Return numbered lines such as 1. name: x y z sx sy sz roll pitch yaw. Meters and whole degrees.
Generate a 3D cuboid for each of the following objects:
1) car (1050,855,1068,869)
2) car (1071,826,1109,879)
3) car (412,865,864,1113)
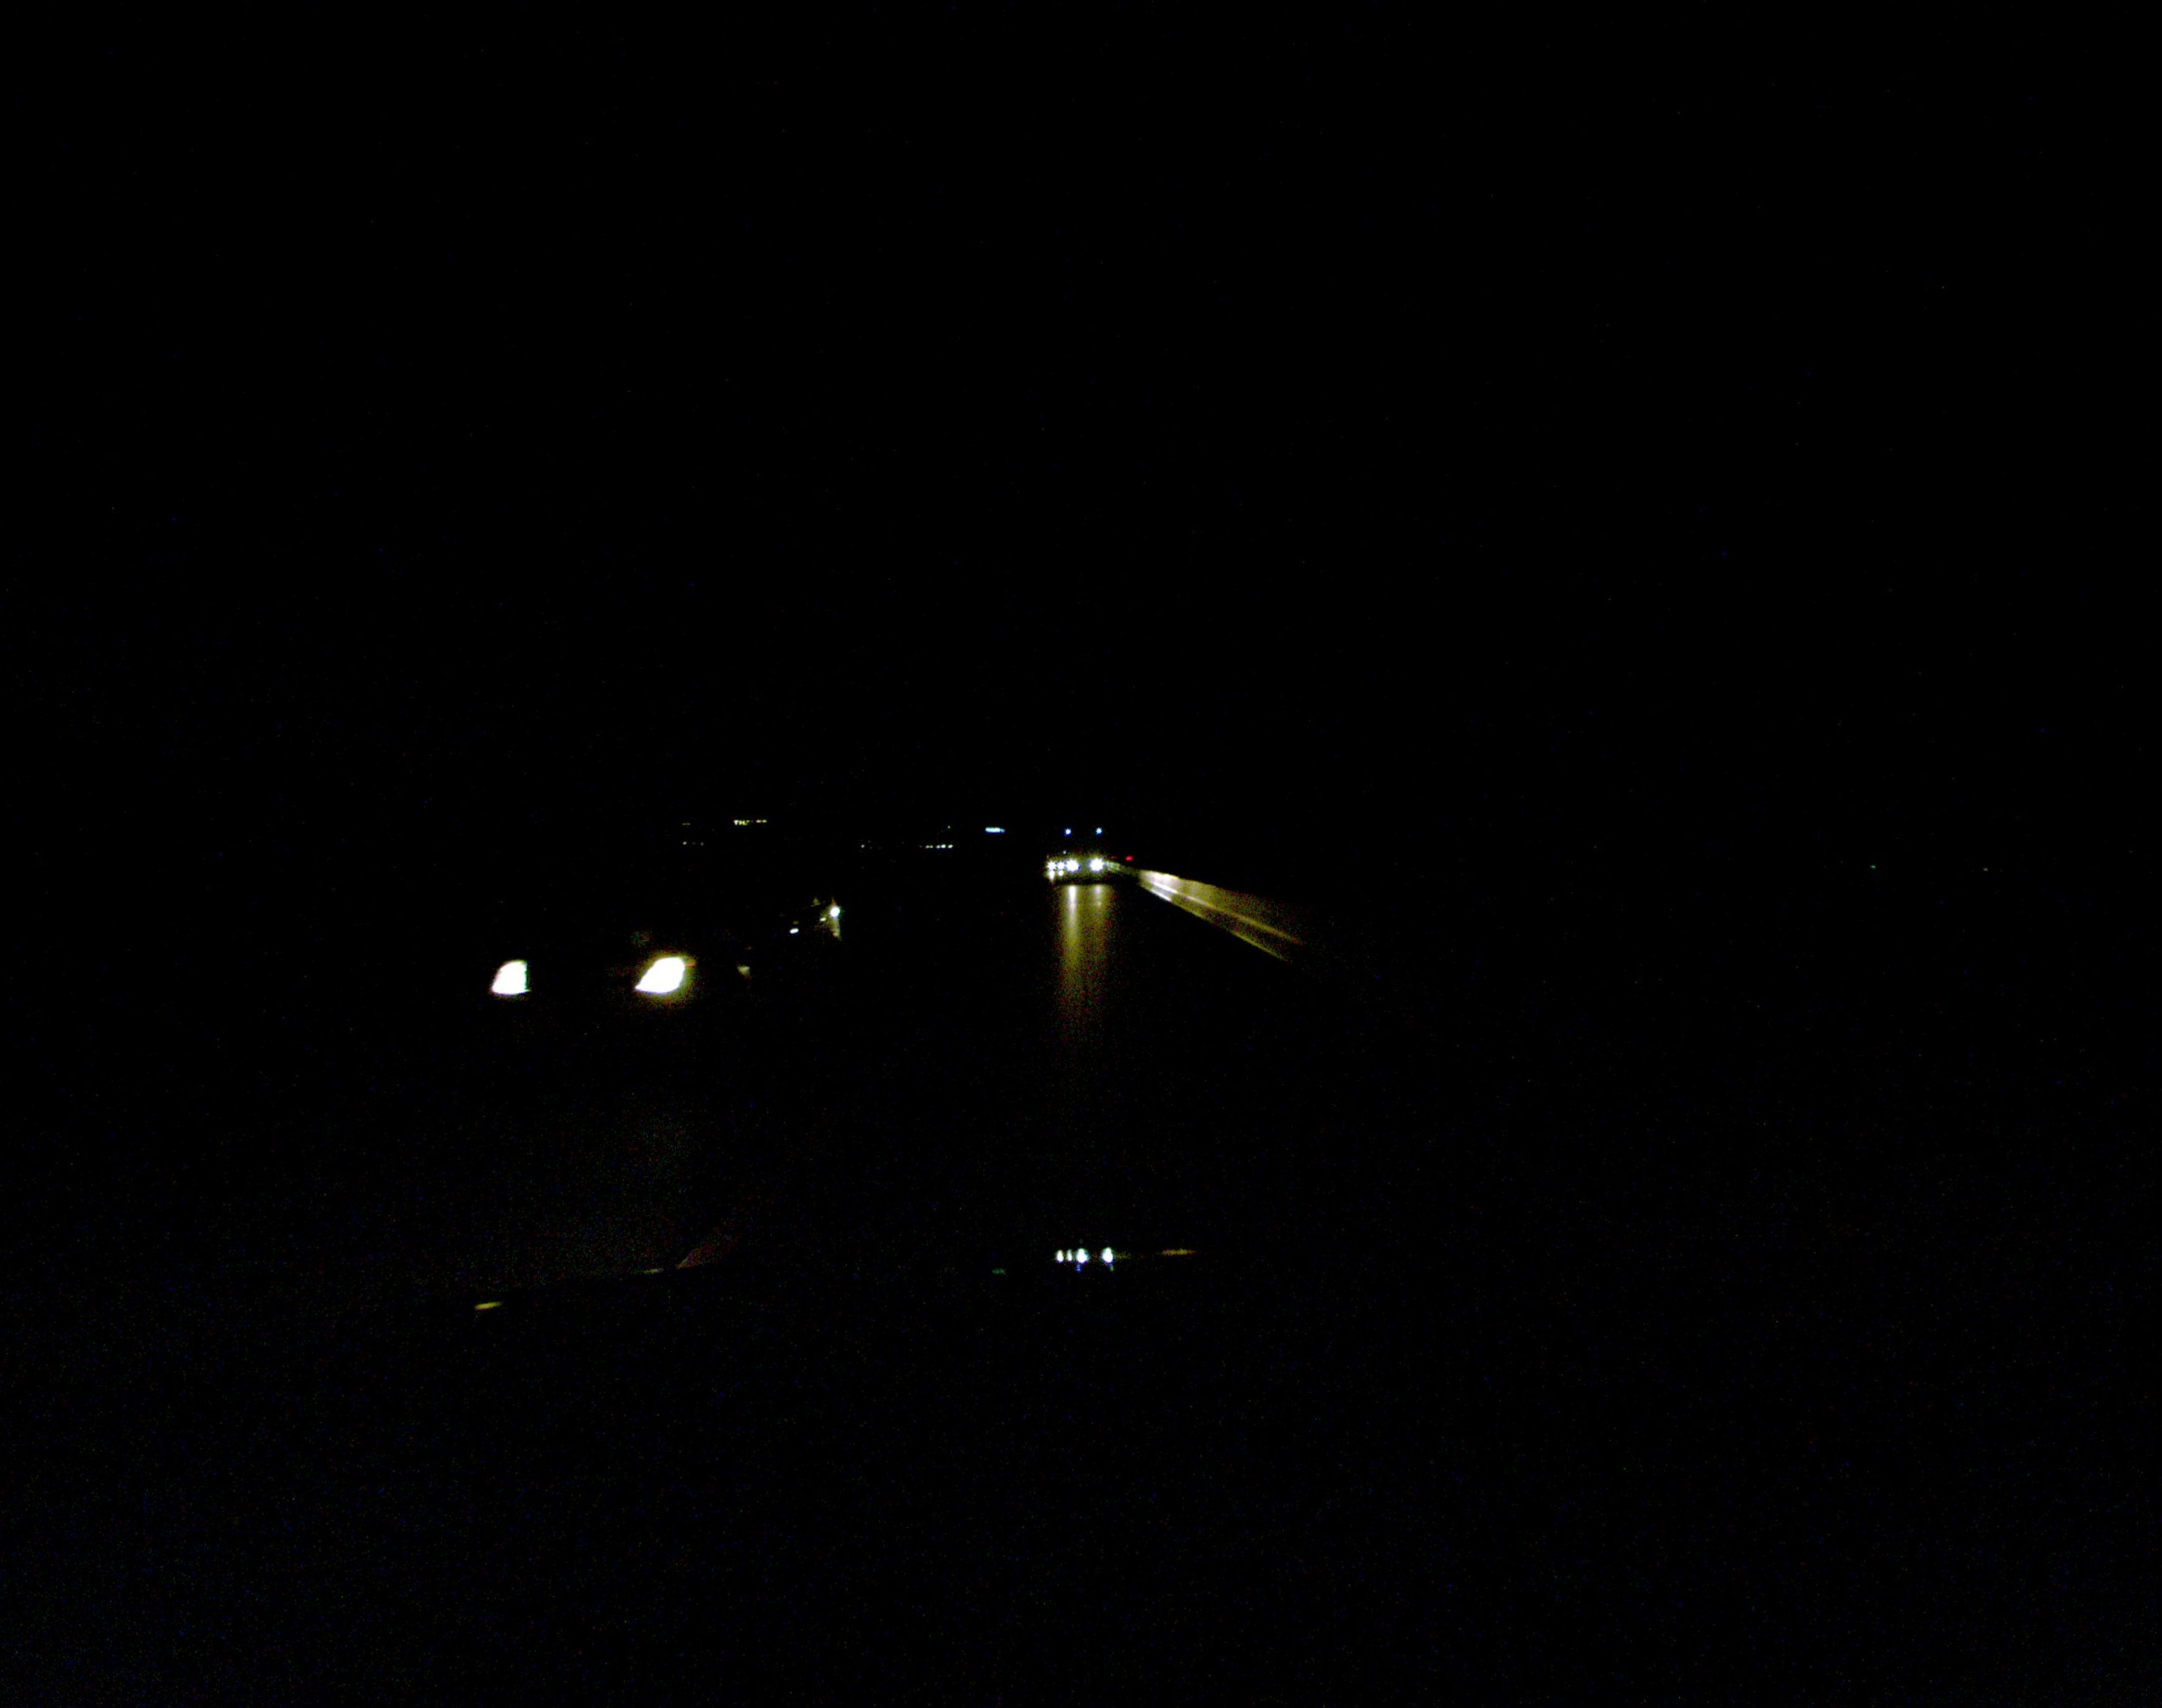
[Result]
1. car: -2.610 0.958 90.500 1.998 1.576 4.128 -1 0 1
2. car: 0.588 -0.133 49.999 2.255 3.205 6.878 -1 0 1
3. car: -3.625 0.944 7.361 1.650 1.587 4.510 -1 0 1
